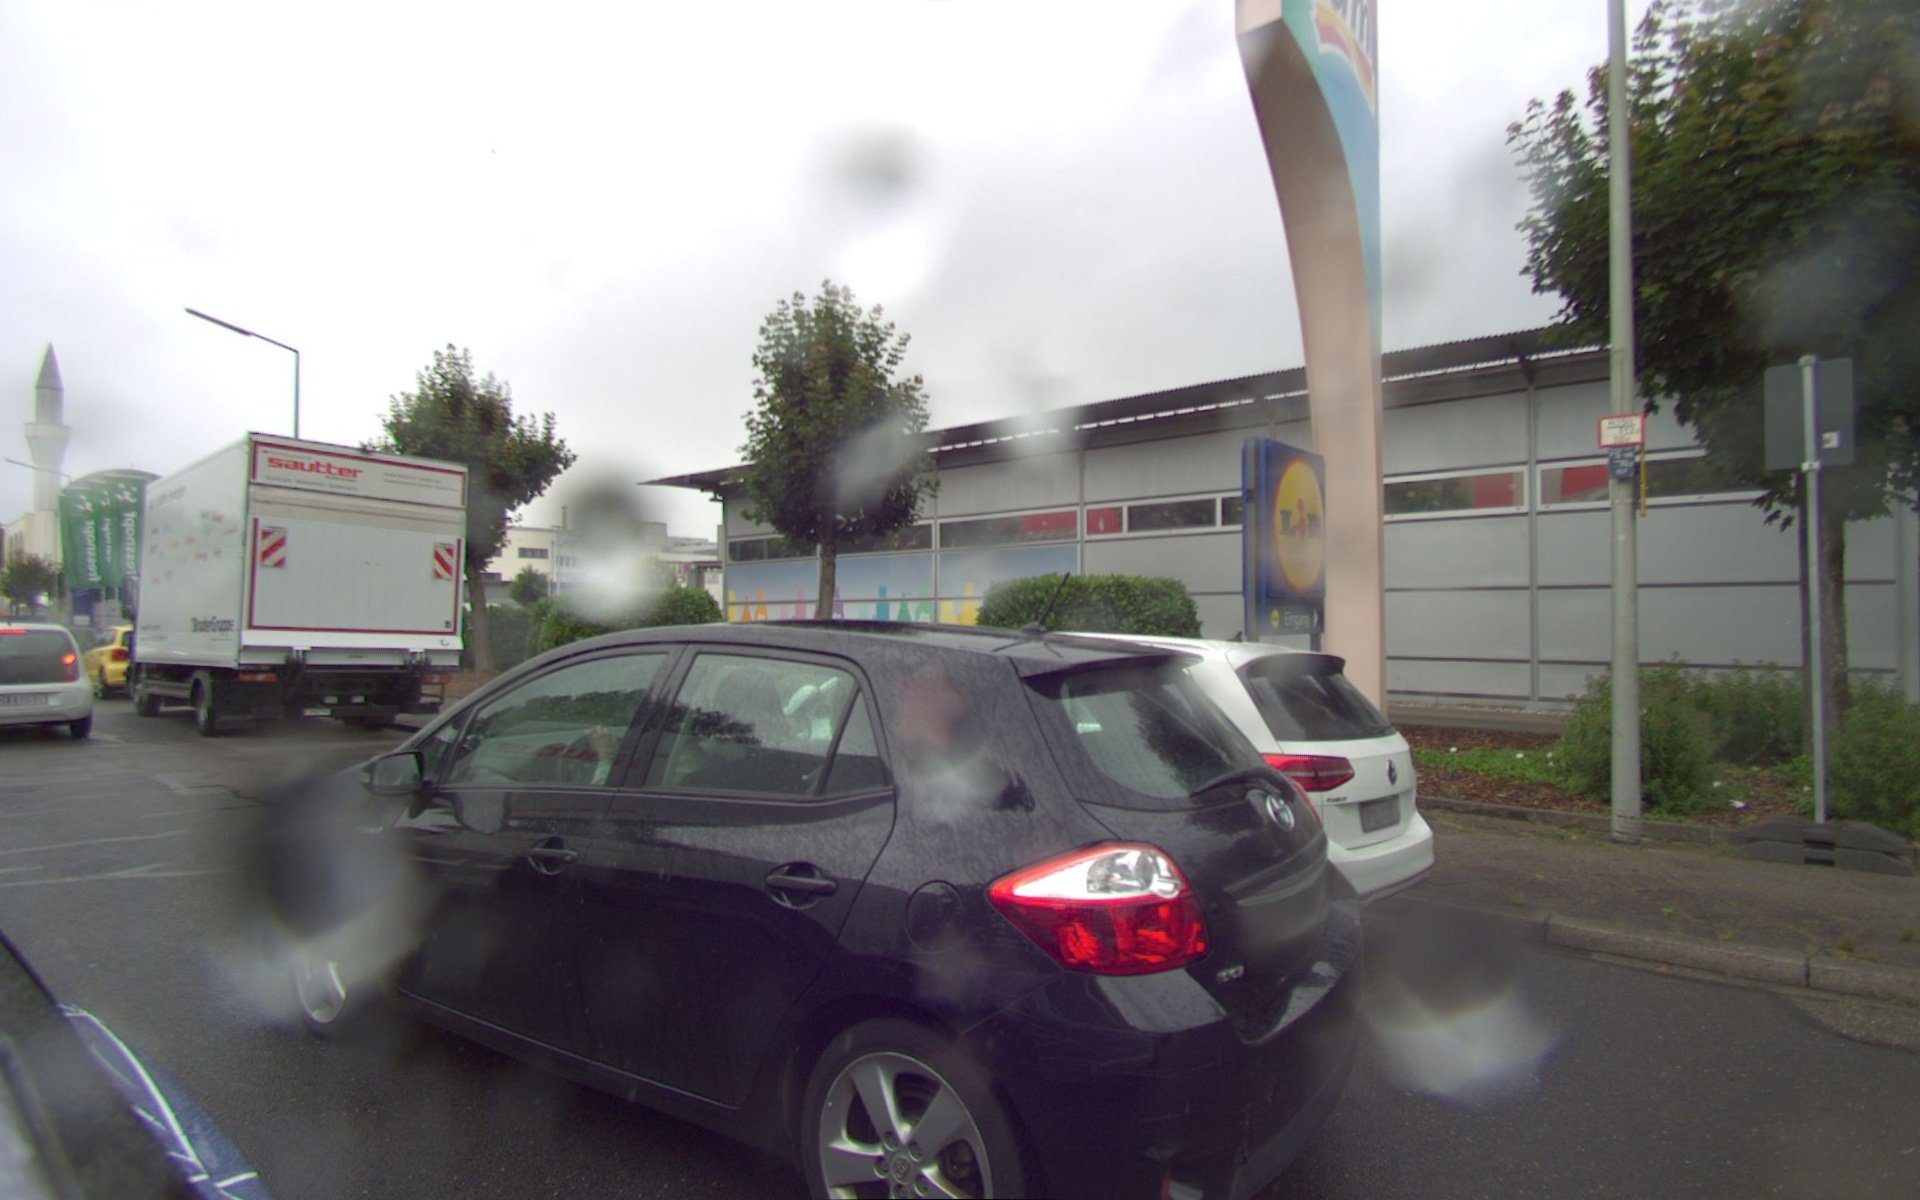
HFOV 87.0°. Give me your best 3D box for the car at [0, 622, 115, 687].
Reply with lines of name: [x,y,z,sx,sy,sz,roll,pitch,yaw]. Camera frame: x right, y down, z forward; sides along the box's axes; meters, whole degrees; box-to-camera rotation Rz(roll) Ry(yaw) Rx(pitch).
car: [-22.309,1.293,24.950,3.510,1.477,1.670,-1,-2,40]

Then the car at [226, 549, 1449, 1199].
car: [-0.650,0.708,3.459,3.989,1.452,1.716,-1,-3,34]

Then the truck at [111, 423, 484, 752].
truck: [-10.320,-0.056,15.327,7.866,3.775,2.850,-1,-2,43]

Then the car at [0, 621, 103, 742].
car: [-12.730,1.007,13.299,3.404,1.449,1.595,-1,-3,39]

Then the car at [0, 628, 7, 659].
car: [-44.361,1.959,45.652,3.608,1.351,1.559,-1,-2,40]

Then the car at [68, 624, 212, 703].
car: [-17.018,1.250,20.963,3.510,1.477,1.670,-1,-2,40]

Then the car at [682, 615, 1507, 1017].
car: [0.447,0.851,5.854,4.490,1.445,1.816,-1,-3,42]
